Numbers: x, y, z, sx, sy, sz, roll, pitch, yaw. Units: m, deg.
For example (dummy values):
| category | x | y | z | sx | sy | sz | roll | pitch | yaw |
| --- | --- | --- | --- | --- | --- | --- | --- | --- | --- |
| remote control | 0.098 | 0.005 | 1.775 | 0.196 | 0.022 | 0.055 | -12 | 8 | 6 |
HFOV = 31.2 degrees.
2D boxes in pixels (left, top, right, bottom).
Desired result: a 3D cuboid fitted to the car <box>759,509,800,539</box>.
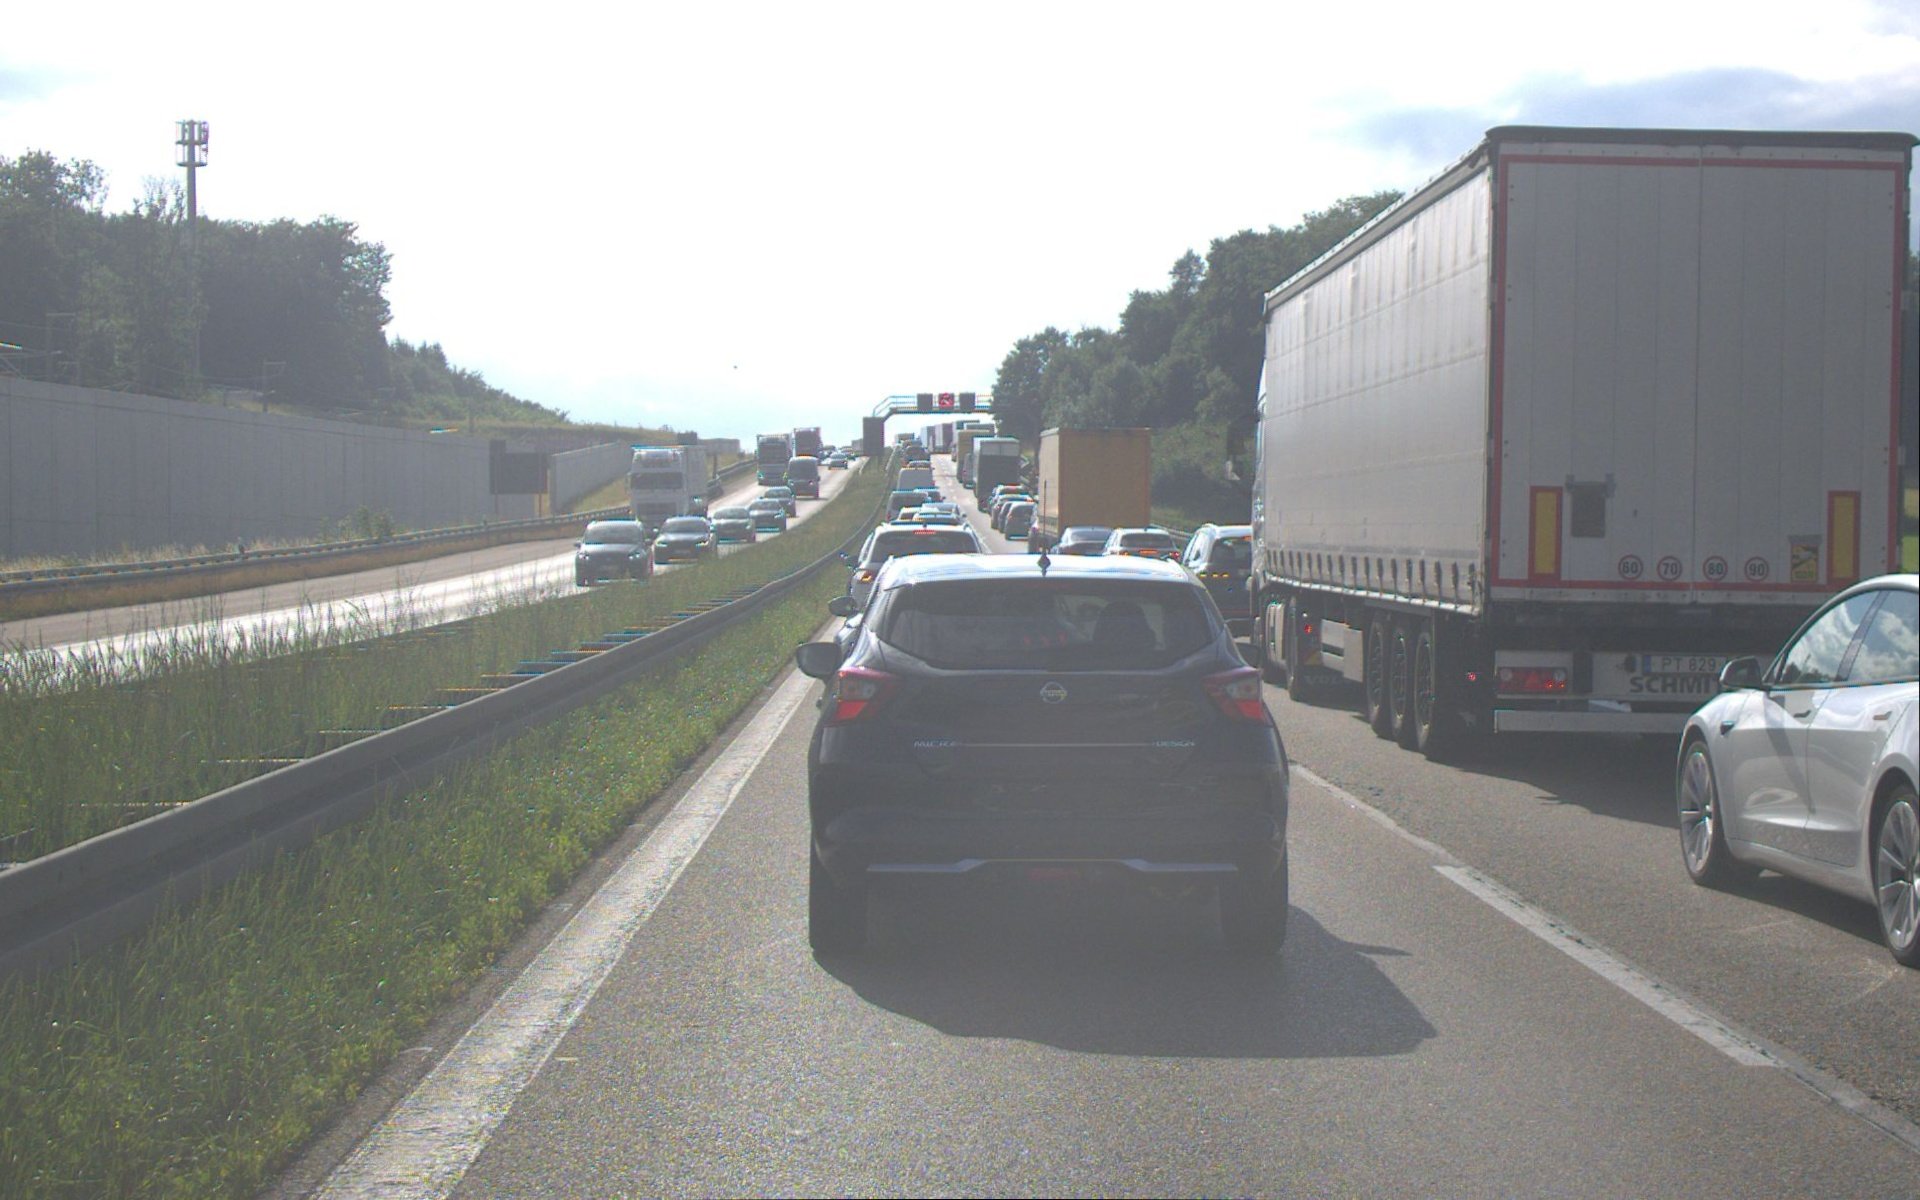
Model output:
| category | x | y | z | sx | sy | sz | roll | pitch | yaw |
| --- | --- | --- | --- | --- | --- | --- | --- | --- | --- |
| car | -8.494 | -3.563 | 162.077 | 1.742 | 1.353 | 4.232 | 0 | 1 | 0 |

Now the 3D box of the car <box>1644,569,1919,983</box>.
| category | x | y | z | sx | sy | sz | roll | pitch | yaw |
| --- | --- | --- | --- | --- | --- | --- | --- | --- | --- |
| car | 4.123 | 0.596 | 13.525 | 1.788 | 1.389 | 4.437 | 0 | 1 | -3 |

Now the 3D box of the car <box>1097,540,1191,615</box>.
| category | x | y | z | sx | sy | sz | roll | pitch | yaw |
| --- | --- | --- | --- | --- | --- | --- | --- | --- | --- |
| car | 4.132 | -0.526 | 77.840 | 1.873 | 1.638 | 4.232 | 0 | 1 | 0 |

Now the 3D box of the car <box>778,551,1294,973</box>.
| category | x | y | z | sx | sy | sz | roll | pitch | yaw |
| --- | --- | --- | --- | --- | --- | --- | --- | --- | --- |
| car | 0.245 | 0.529 | 13.938 | 1.773 | 1.446 | 4.232 | 0 | 1 | 0 |

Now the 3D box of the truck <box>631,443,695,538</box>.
| category | x | y | z | sx | sy | sz | roll | pitch | yaw |
| --- | --- | --- | --- | --- | --- | --- | --- | --- | --- |
| truck | -13.410 | -4.897 | 155.452 | 2.380 | 4.167 | 5.932 | -1 | 1 | -1 |

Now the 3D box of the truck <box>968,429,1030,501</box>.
| category | x | y | z | sx | sy | sz | roll | pitch | yaw |
| --- | --- | --- | --- | --- | --- | --- | --- | --- | --- |
| truck | 2.502 | -8.828 | 225.598 | 3.464 | 4.561 | 12.443 | 1 | 2 | -2 |

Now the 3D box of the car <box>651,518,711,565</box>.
| category | x | y | z | sx | sy | sz | roll | pitch | yaw |
| --- | --- | --- | --- | --- | --- | --- | --- | --- | --- |
| car | -9.177 | -1.925 | 113.328 | 1.697 | 1.494 | 4.427 | 0 | 1 | -1 |

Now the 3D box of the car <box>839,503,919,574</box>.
| category | x | y | z | sx | sy | sz | roll | pitch | yaw |
| --- | --- | --- | --- | --- | --- | --- | --- | --- | --- |
| car | -1.933 | -1.508 | 83.067 | 1.873 | 1.638 | 4.233 | 0 | 2 | 0 |

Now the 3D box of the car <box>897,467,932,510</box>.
| category | x | y | z | sx | sy | sz | roll | pitch | yaw |
| --- | --- | --- | --- | --- | --- | --- | --- | --- | --- |
| car | -2.506 | -6.110 | 187.610 | 1.873 | 2.151 | 5.212 | 0 | 4 | -1 |

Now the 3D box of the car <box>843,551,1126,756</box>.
| category | x | y | z | sx | sy | sz | roll | pitch | yaw |
| --- | --- | --- | --- | --- | --- | --- | --- | --- | --- |
| car | 0.146 | 0.326 | 24.871 | 1.873 | 1.353 | 4.232 | 0 | 1 | 0 |

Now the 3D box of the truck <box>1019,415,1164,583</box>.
| category | x | y | z | sx | sy | sz | roll | pitch | yaw |
| --- | --- | --- | --- | --- | --- | --- | --- | --- | --- |
| truck | 3.715 | -2.818 | 100.783 | 3.296 | 4.562 | 12.441 | 1 | 0 | -2 |

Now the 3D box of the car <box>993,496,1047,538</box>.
| category | x | y | z | sx | sy | sz | roll | pitch | yaw |
| --- | --- | --- | --- | --- | --- | --- | --- | --- | --- |
| car | 2.481 | -3.461 | 142.973 | 1.873 | 1.638 | 4.233 | 0 | 2 | -4 |

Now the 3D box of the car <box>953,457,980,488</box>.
| category | x | y | z | sx | sy | sz | roll | pitch | yaw |
| --- | --- | --- | --- | --- | --- | --- | --- | --- | --- |
| car | 0.482 | -9.463 | 255.319 | 1.873 | 2.151 | 5.212 | 0 | 4 | -1 |

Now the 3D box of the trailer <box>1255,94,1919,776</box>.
| category | x | y | z | sx | sy | sz | roll | pitch | yaw |
| --- | --- | --- | --- | --- | --- | --- | --- | --- | --- |
| trailer | 4.489 | -0.967 | 27.006 | 3.130 | 3.997 | 13.366 | 1 | 0 | 0 |

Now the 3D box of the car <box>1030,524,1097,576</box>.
| category | x | y | z | sx | sy | sz | roll | pitch | yaw |
| --- | --- | --- | --- | --- | --- | --- | --- | --- | --- |
| car | 3.355 | -1.639 | 111.979 | 1.873 | 1.638 | 4.233 | 0 | 1 | -2 |

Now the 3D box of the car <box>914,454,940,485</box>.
| category | x | y | z | sx | sy | sz | roll | pitch | yaw |
| --- | --- | --- | --- | --- | --- | --- | --- | --- | --- |
| car | -2.454 | -9.606 | 252.129 | 1.873 | 2.151 | 5.212 | 0 | 4 | -1 |

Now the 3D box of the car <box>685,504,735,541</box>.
| category | x | y | z | sx | sy | sz | roll | pitch | yaw |
| --- | --- | --- | --- | --- | --- | --- | --- | --- | --- |
| car | -10.309 | -3.197 | 141.710 | 1.769 | 1.474 | 3.829 | 0 | 1 | 0 |

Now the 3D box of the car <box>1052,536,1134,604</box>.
| category | x | y | z | sx | sy | sz | roll | pitch | yaw |
| --- | --- | --- | --- | --- | --- | --- | --- | --- | --- |
| car | 3.351 | -0.783 | 87.222 | 1.873 | 1.638 | 4.232 | 0 | 1 | 0 |

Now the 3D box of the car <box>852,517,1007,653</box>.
| category | x | y | z | sx | sy | sz | roll | pitch | yaw |
| --- | --- | --- | --- | --- | --- | --- | --- | --- | --- |
| car | -0.389 | -0.211 | 43.730 | 1.873 | 1.638 | 4.232 | 0 | 1 | 0 |

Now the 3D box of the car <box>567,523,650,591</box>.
| category | x | y | z | sx | sy | sz | roll | pitch | yaw |
| --- | --- | --- | --- | --- | --- | --- | --- | --- | --- |
| car | -9.172 | -1.135 | 89.925 | 1.781 | 1.731 | 4.102 | 0 | 1 | 0 |

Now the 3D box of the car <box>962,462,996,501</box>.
| category | x | y | z | sx | sy | sz | roll | pitch | yaw |
| --- | --- | --- | --- | --- | --- | --- | --- | --- | --- |
| car | 1.068 | -6.911 | 200.165 | 1.873 | 2.151 | 5.212 | 0 | 4 | -1 |

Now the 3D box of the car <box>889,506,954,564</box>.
| category | x | y | z | sx | sy | sz | roll | pitch | yaw |
| --- | --- | --- | --- | --- | --- | --- | --- | --- | --- |
| car | -1.133 | -1.952 | 102.202 | 1.873 | 1.638 | 4.233 | 0 | 2 | 0 |

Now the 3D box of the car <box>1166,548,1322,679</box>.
| category | x | y | z | sx | sy | sz | roll | pitch | yaw |
| --- | --- | --- | --- | --- | --- | --- | --- | --- | --- |
| car | 3.645 | 0.136 | 44.664 | 1.697 | 1.605 | 4.437 | 0 | 1 | 1 |

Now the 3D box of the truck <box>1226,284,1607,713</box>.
| category | x | y | z | sx | sy | sz | roll | pitch | yaw |
| --- | --- | --- | --- | --- | --- | --- | --- | --- | --- |
| truck | 4.497 | -0.964 | 34.955 | 3.133 | 4.002 | 5.163 | 1 | 0 | 0 |

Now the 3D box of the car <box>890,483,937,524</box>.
| category | x | y | z | sx | sy | sz | roll | pitch | yaw |
| --- | --- | --- | --- | --- | --- | --- | --- | --- | --- |
| car | -1.962 | -4.032 | 143.642 | 1.873 | 1.638 | 4.233 | 0 | 2 | -2 |

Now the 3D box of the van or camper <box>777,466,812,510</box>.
| category | x | y | z | sx | sy | sz | roll | pitch | yaw |
| --- | --- | --- | --- | --- | --- | --- | --- | --- | --- |
| van or camper | -11.092 | -7.520 | 231.140 | 2.090 | 2.810 | 5.896 | 1 | 0 | -1 |
